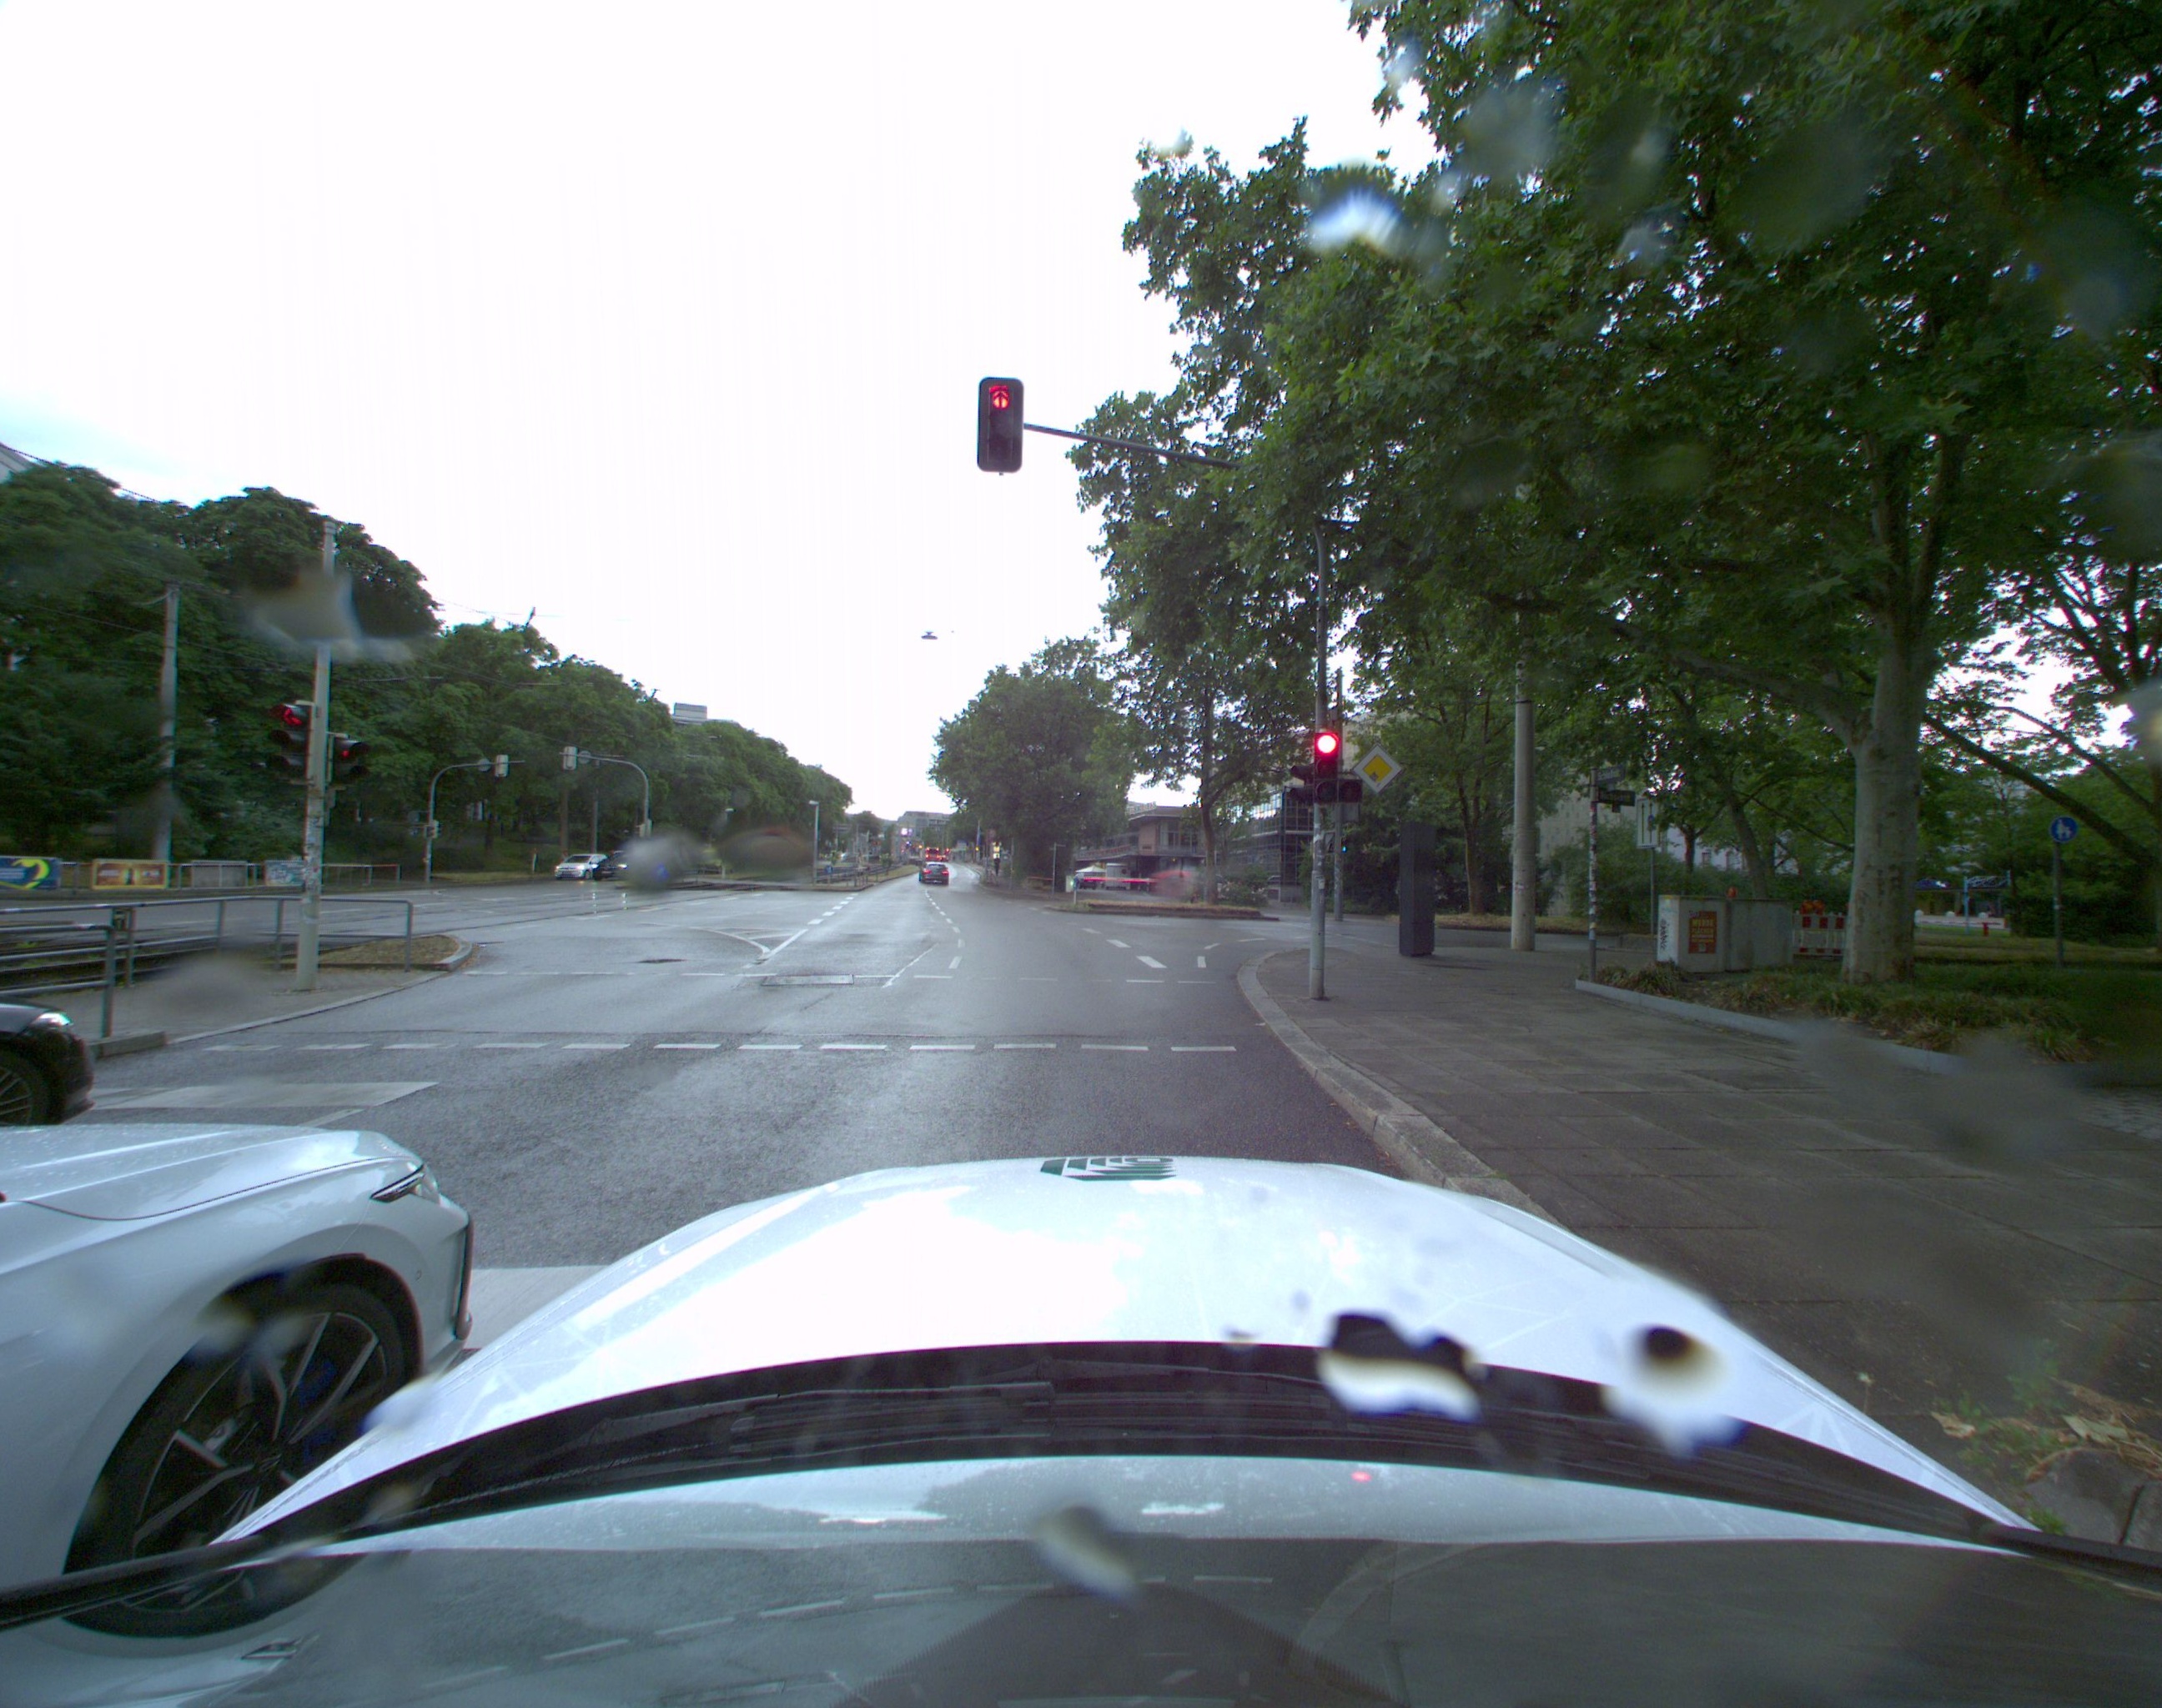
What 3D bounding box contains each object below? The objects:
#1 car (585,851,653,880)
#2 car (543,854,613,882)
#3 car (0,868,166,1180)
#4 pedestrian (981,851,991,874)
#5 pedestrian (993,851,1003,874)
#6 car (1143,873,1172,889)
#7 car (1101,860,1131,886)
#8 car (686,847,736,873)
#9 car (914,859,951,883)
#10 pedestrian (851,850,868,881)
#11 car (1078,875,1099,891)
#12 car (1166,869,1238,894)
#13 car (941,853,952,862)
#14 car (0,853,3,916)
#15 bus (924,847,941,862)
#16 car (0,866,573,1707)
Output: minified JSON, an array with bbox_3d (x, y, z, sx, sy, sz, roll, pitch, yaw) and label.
[{"bbox_3d":[-25.741,0.641,45.501,1.917,1.546,3.674,1,-1,-5],"label":"car"},{"bbox_3d":[-29.006,0.823,47.100,1.917,1.546,3.674,1,-1,-5],"label":"car"},{"bbox_3d":[-5.973,0.787,2.226,1.789,1.442,4.477,0,-1,2],"label":"car"},{"bbox_3d":[-8.203,0.745,70.470,0.813,2.014,1.075,0,-1,-6],"label":"pedestrian"},{"bbox_3d":[-7.229,0.738,70.702,0.873,2.014,1.075,0,-1,-6],"label":"pedestrian"},{"bbox_3d":[8.300,2.913,89.080,2.020,1.551,4.334,2,0,-10],"label":"car"},{"bbox_3d":[3.895,2.129,91.564,2.725,2.695,6.916,2,0,-2],"label":"car"},{"bbox_3d":[-27.045,0.453,59.723,1.917,1.851,4.558,1,-1,-5],"label":"car"},{"bbox_3d":[-10.134,1.144,55.449,1.998,1.519,4.325,0,-1,-17],"label":"car"},{"bbox_3d":[-13.269,0.694,48.799,0.870,1.802,0.864,2,-1,-13],"label":"pedestrian"},{"bbox_3d":[0.856,3.069,88.073,2.010,1.551,4.355,2,0,4],"label":"car"},{"bbox_3d":[9.272,2.124,62.122,5.221,1.731,1.860,2,-1,-23],"label":"car"},{"bbox_3d":[-30.117,0.815,182.400,2.364,1.817,5.164,0,-1,-11],"label":"car"},{"bbox_3d":[-21.162,0.612,13.388,1.612,1.357,3.894,2,0,28],"label":"car"},{"bbox_3d":[-32.433,0.115,177.485,3.591,3.171,10.381,0,-1,-11],"label":"bus"},{"bbox_3d":[-2.525,0.747,0.272,1.789,1.442,4.477,0,-1,2],"label":"car"}]
